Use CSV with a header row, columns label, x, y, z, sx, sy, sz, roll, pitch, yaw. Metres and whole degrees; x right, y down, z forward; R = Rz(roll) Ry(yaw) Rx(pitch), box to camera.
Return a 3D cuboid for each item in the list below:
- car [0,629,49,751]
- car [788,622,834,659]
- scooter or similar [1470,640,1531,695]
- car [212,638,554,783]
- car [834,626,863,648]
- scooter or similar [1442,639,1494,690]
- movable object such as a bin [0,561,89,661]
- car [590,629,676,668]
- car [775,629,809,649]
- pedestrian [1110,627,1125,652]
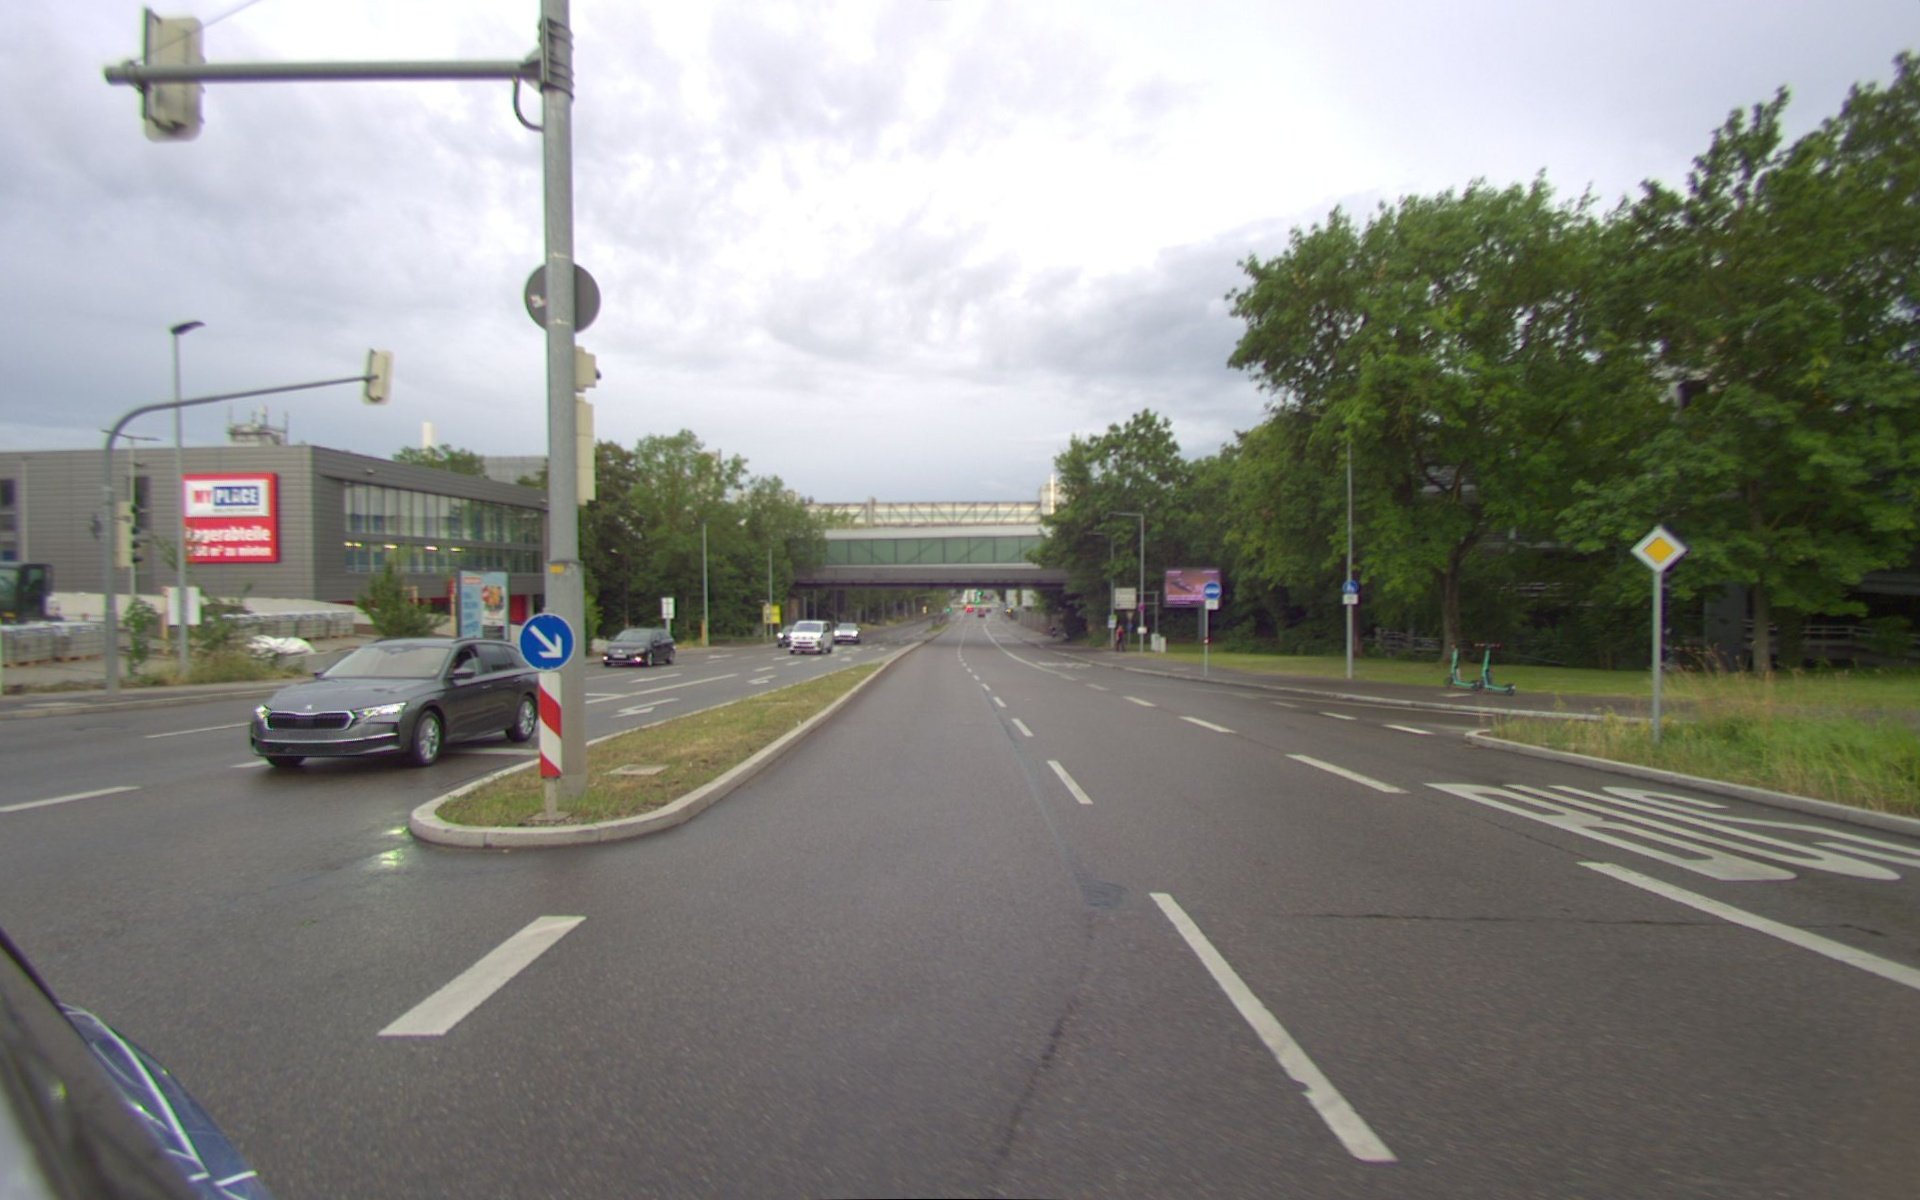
label,x,y,z,sx,sy,sz,roll,pitch,yaw
car,-12.790,1.047,10.395,1.815,1.511,5.532,0,-2,1
car,-8.613,2.320,58.839,1.815,2.050,5.191,0,-2,1
scooter or similar,12.920,1.590,24.234,0.541,1.269,1.360,0,-2,-10
car,-6.840,1.227,12.611,1.815,1.468,4.200,0,-2,1
car,-8.986,2.974,81.822,1.815,1.715,4.623,0,-2,1
scooter or similar,12.889,1.617,25.704,0.508,1.269,1.228,0,-2,-10
movable object such as a bin,-26.611,0.351,28.362,1.899,2.647,3.002,0,-2,-5
car,-12.632,1.859,39.383,1.815,1.415,4.481,0,-2,1
car,-12.213,2.820,73.744,1.815,1.415,4.040,0,-2,1
pedestrian,10.205,2.562,65.427,0.741,1.642,0.705,-1,-3,32
